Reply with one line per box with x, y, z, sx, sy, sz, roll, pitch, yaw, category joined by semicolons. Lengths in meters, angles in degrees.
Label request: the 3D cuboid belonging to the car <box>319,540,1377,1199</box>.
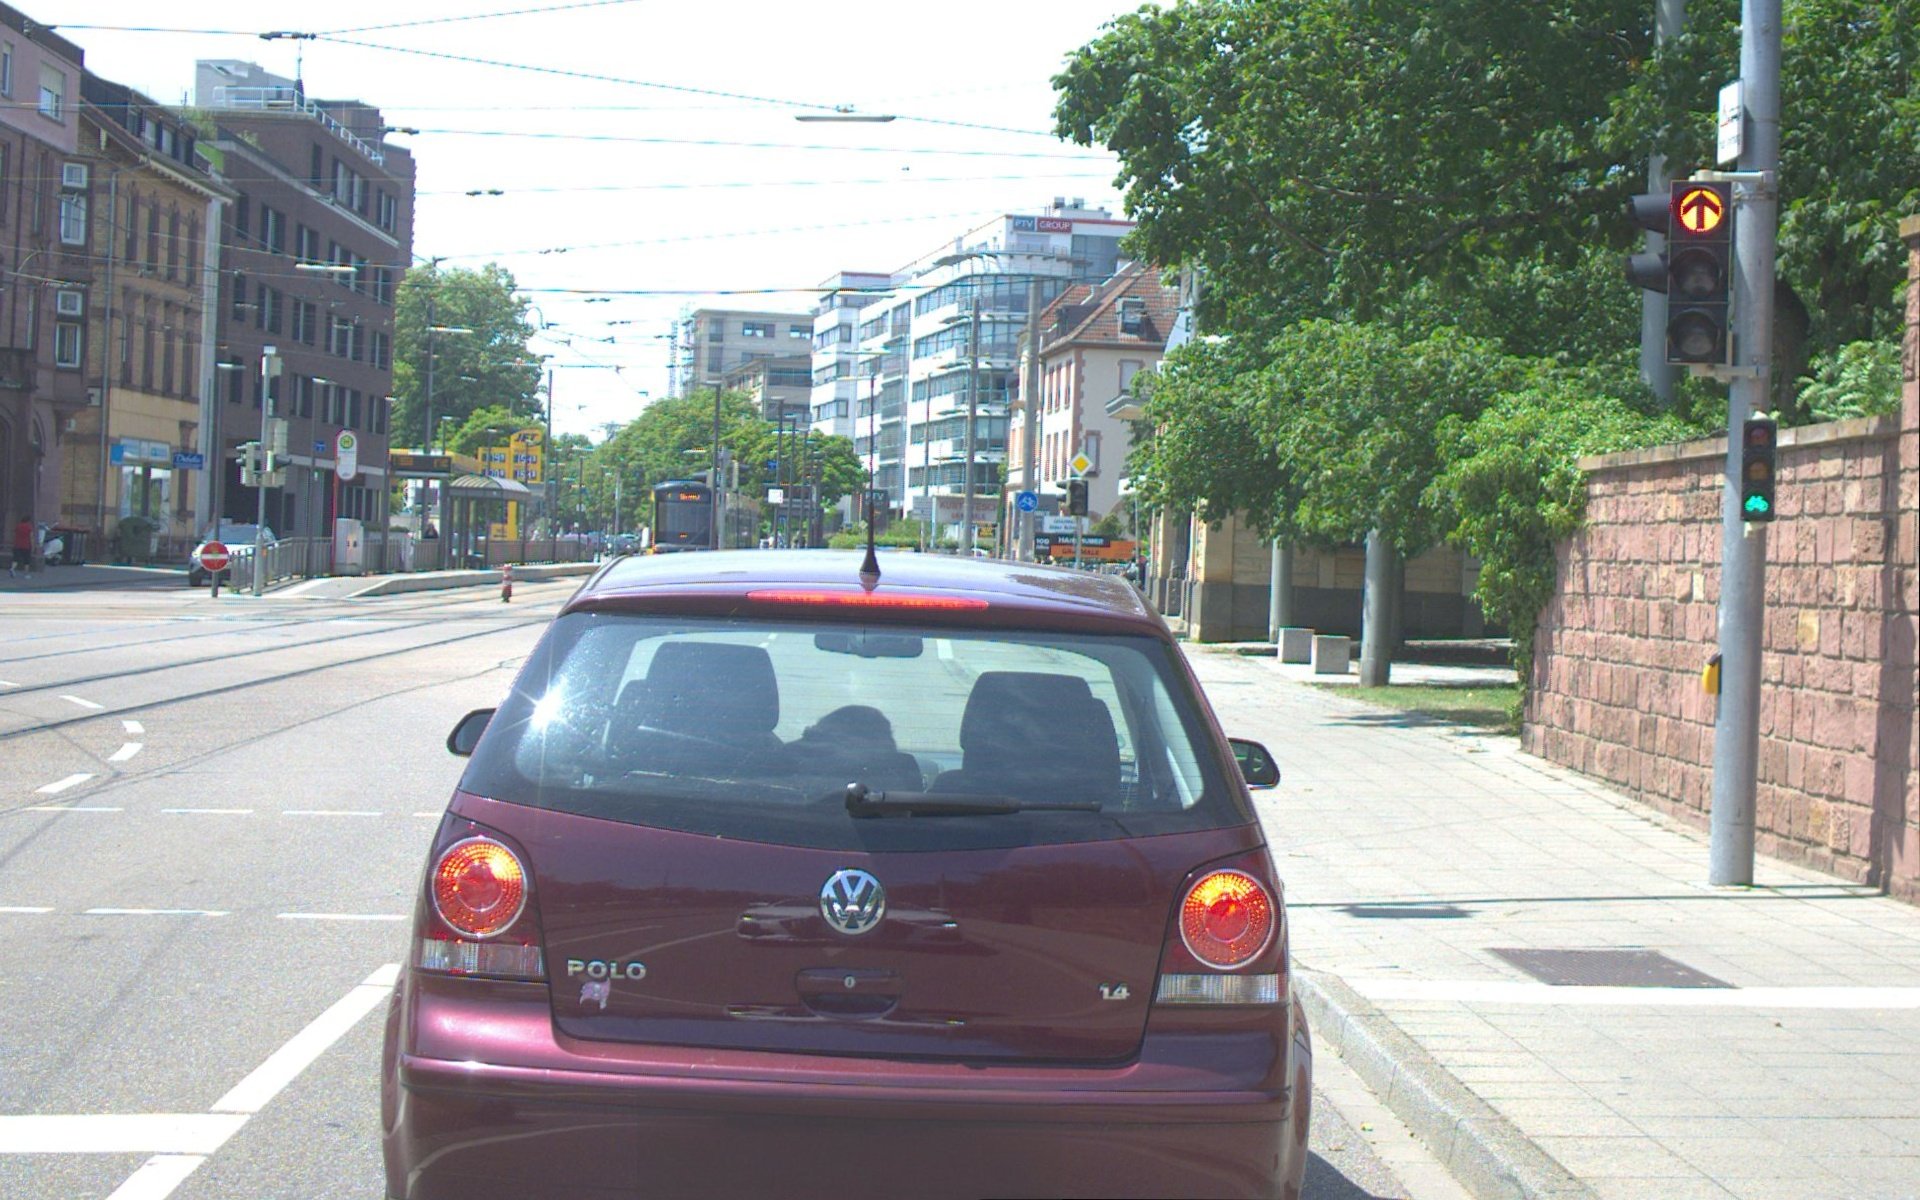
-0.245;0.631;7.400;1.610;1.458;4.086;2;1;-2;car

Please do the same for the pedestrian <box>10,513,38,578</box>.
-22.147;-1.288;81.375;0.483;1.535;0.538;1;0;3;pedestrian

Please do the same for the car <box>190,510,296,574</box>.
-17.615;-1.428;84.630;1.689;1.457;4.000;2;1;1;car

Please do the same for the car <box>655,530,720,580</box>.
-9.187;-1.508;116.292;1.938;1.635;4.000;1;0;-1;car

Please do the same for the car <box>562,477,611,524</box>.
-16.656;-4.423;153.561;1.735;2.007;4.000;2;1;-1;car

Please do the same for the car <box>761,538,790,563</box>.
-10.787;-2.896;201.296;1.572;1.411;3.720;0;1;-1;car
